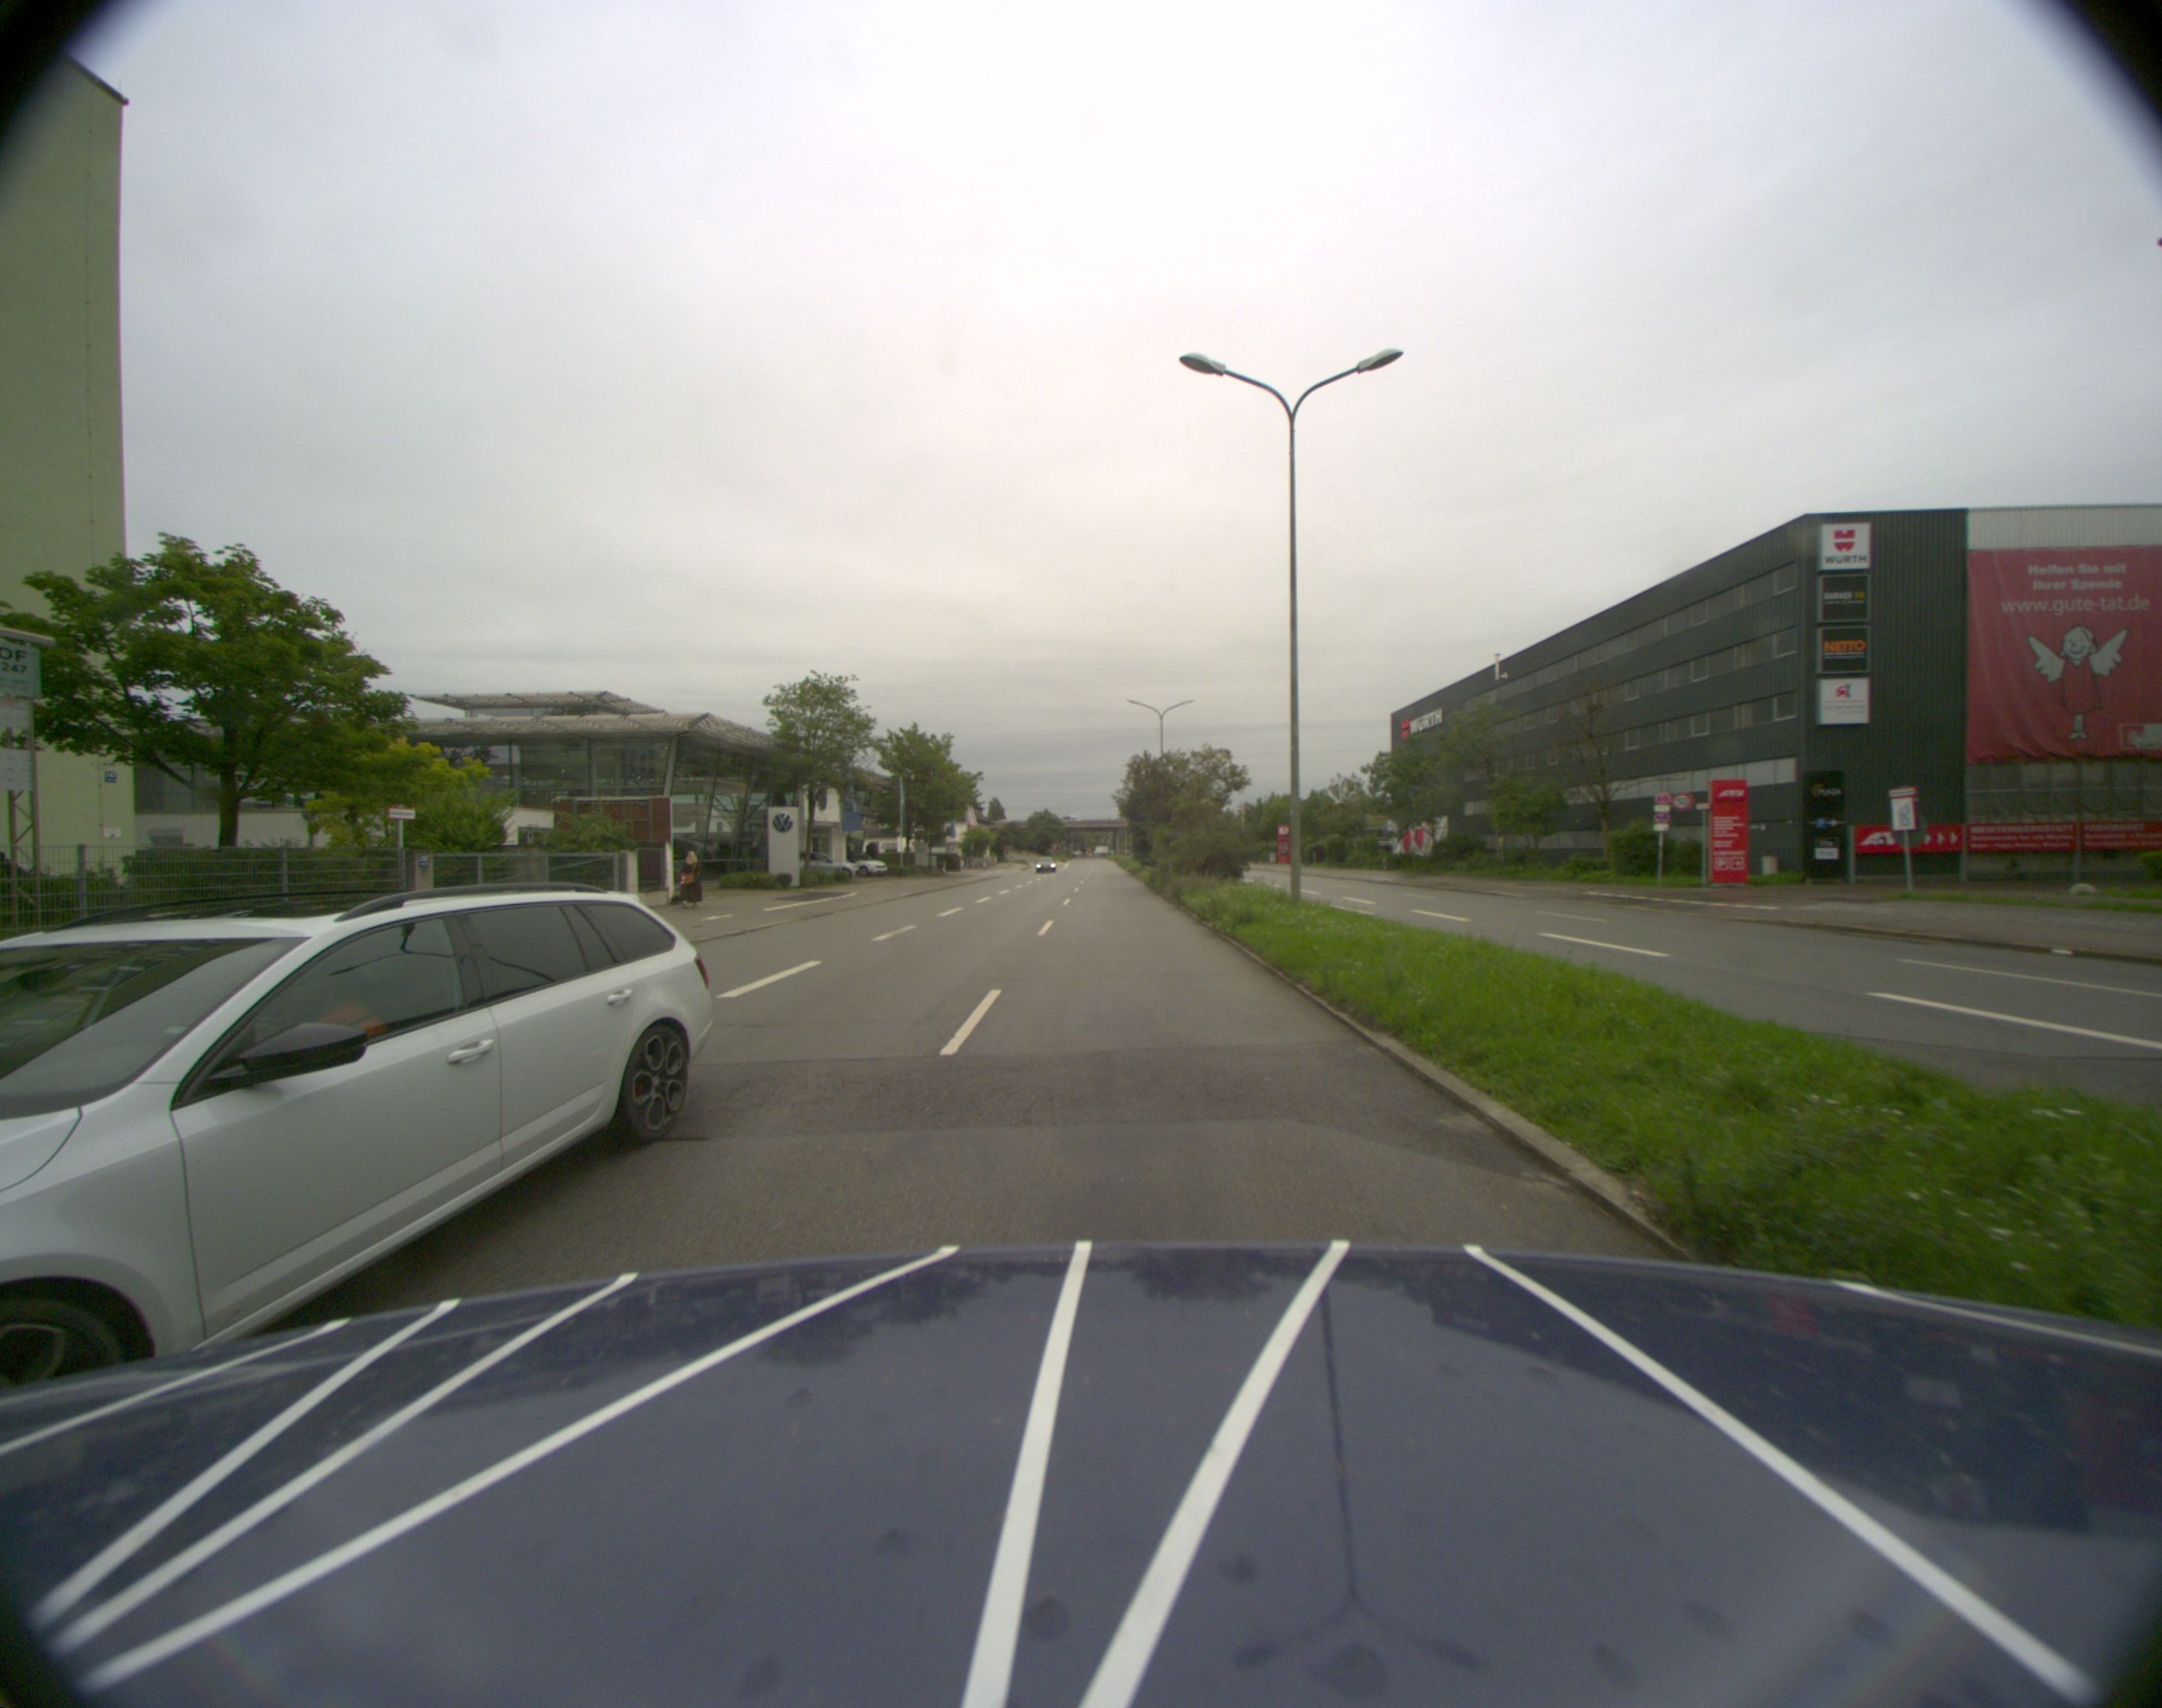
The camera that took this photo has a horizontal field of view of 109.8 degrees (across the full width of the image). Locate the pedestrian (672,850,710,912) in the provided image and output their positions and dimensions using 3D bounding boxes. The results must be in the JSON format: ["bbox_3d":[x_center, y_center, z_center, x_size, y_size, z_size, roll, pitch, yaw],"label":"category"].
[{"bbox_3d":[-11.708,0.787,22.829,0.683,1.811,0.688,-2,1,1],"label":"pedestrian"}]

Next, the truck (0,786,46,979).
[{"bbox_3d":[-16.560,0.469,8.603,1.997,2.732,5.306,-2,1,7],"label":"truck"}]

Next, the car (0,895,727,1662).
[{"bbox_3d":[-3.322,1.059,2.764,1.882,1.459,4.501,-2,1,0],"label":"car"}]

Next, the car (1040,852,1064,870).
[{"bbox_3d":[-2.742,0.630,72.155,1.916,1.498,4.439,-2,1,2],"label":"car"}]

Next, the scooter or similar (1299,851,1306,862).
[{"bbox_3d":[21.375,0.253,73.318,0.305,0.998,1.220,-2,1,-1],"label":"scooter or similar"}]

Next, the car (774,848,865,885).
[{"bbox_3d":[-14.701,0.687,42.780,4.651,1.832,1.798,-2,1,-21],"label":"car"}]

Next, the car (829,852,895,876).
[{"bbox_3d":[-14.843,0.676,51.531,3.991,1.500,1.804,-2,1,23],"label":"car"}]
